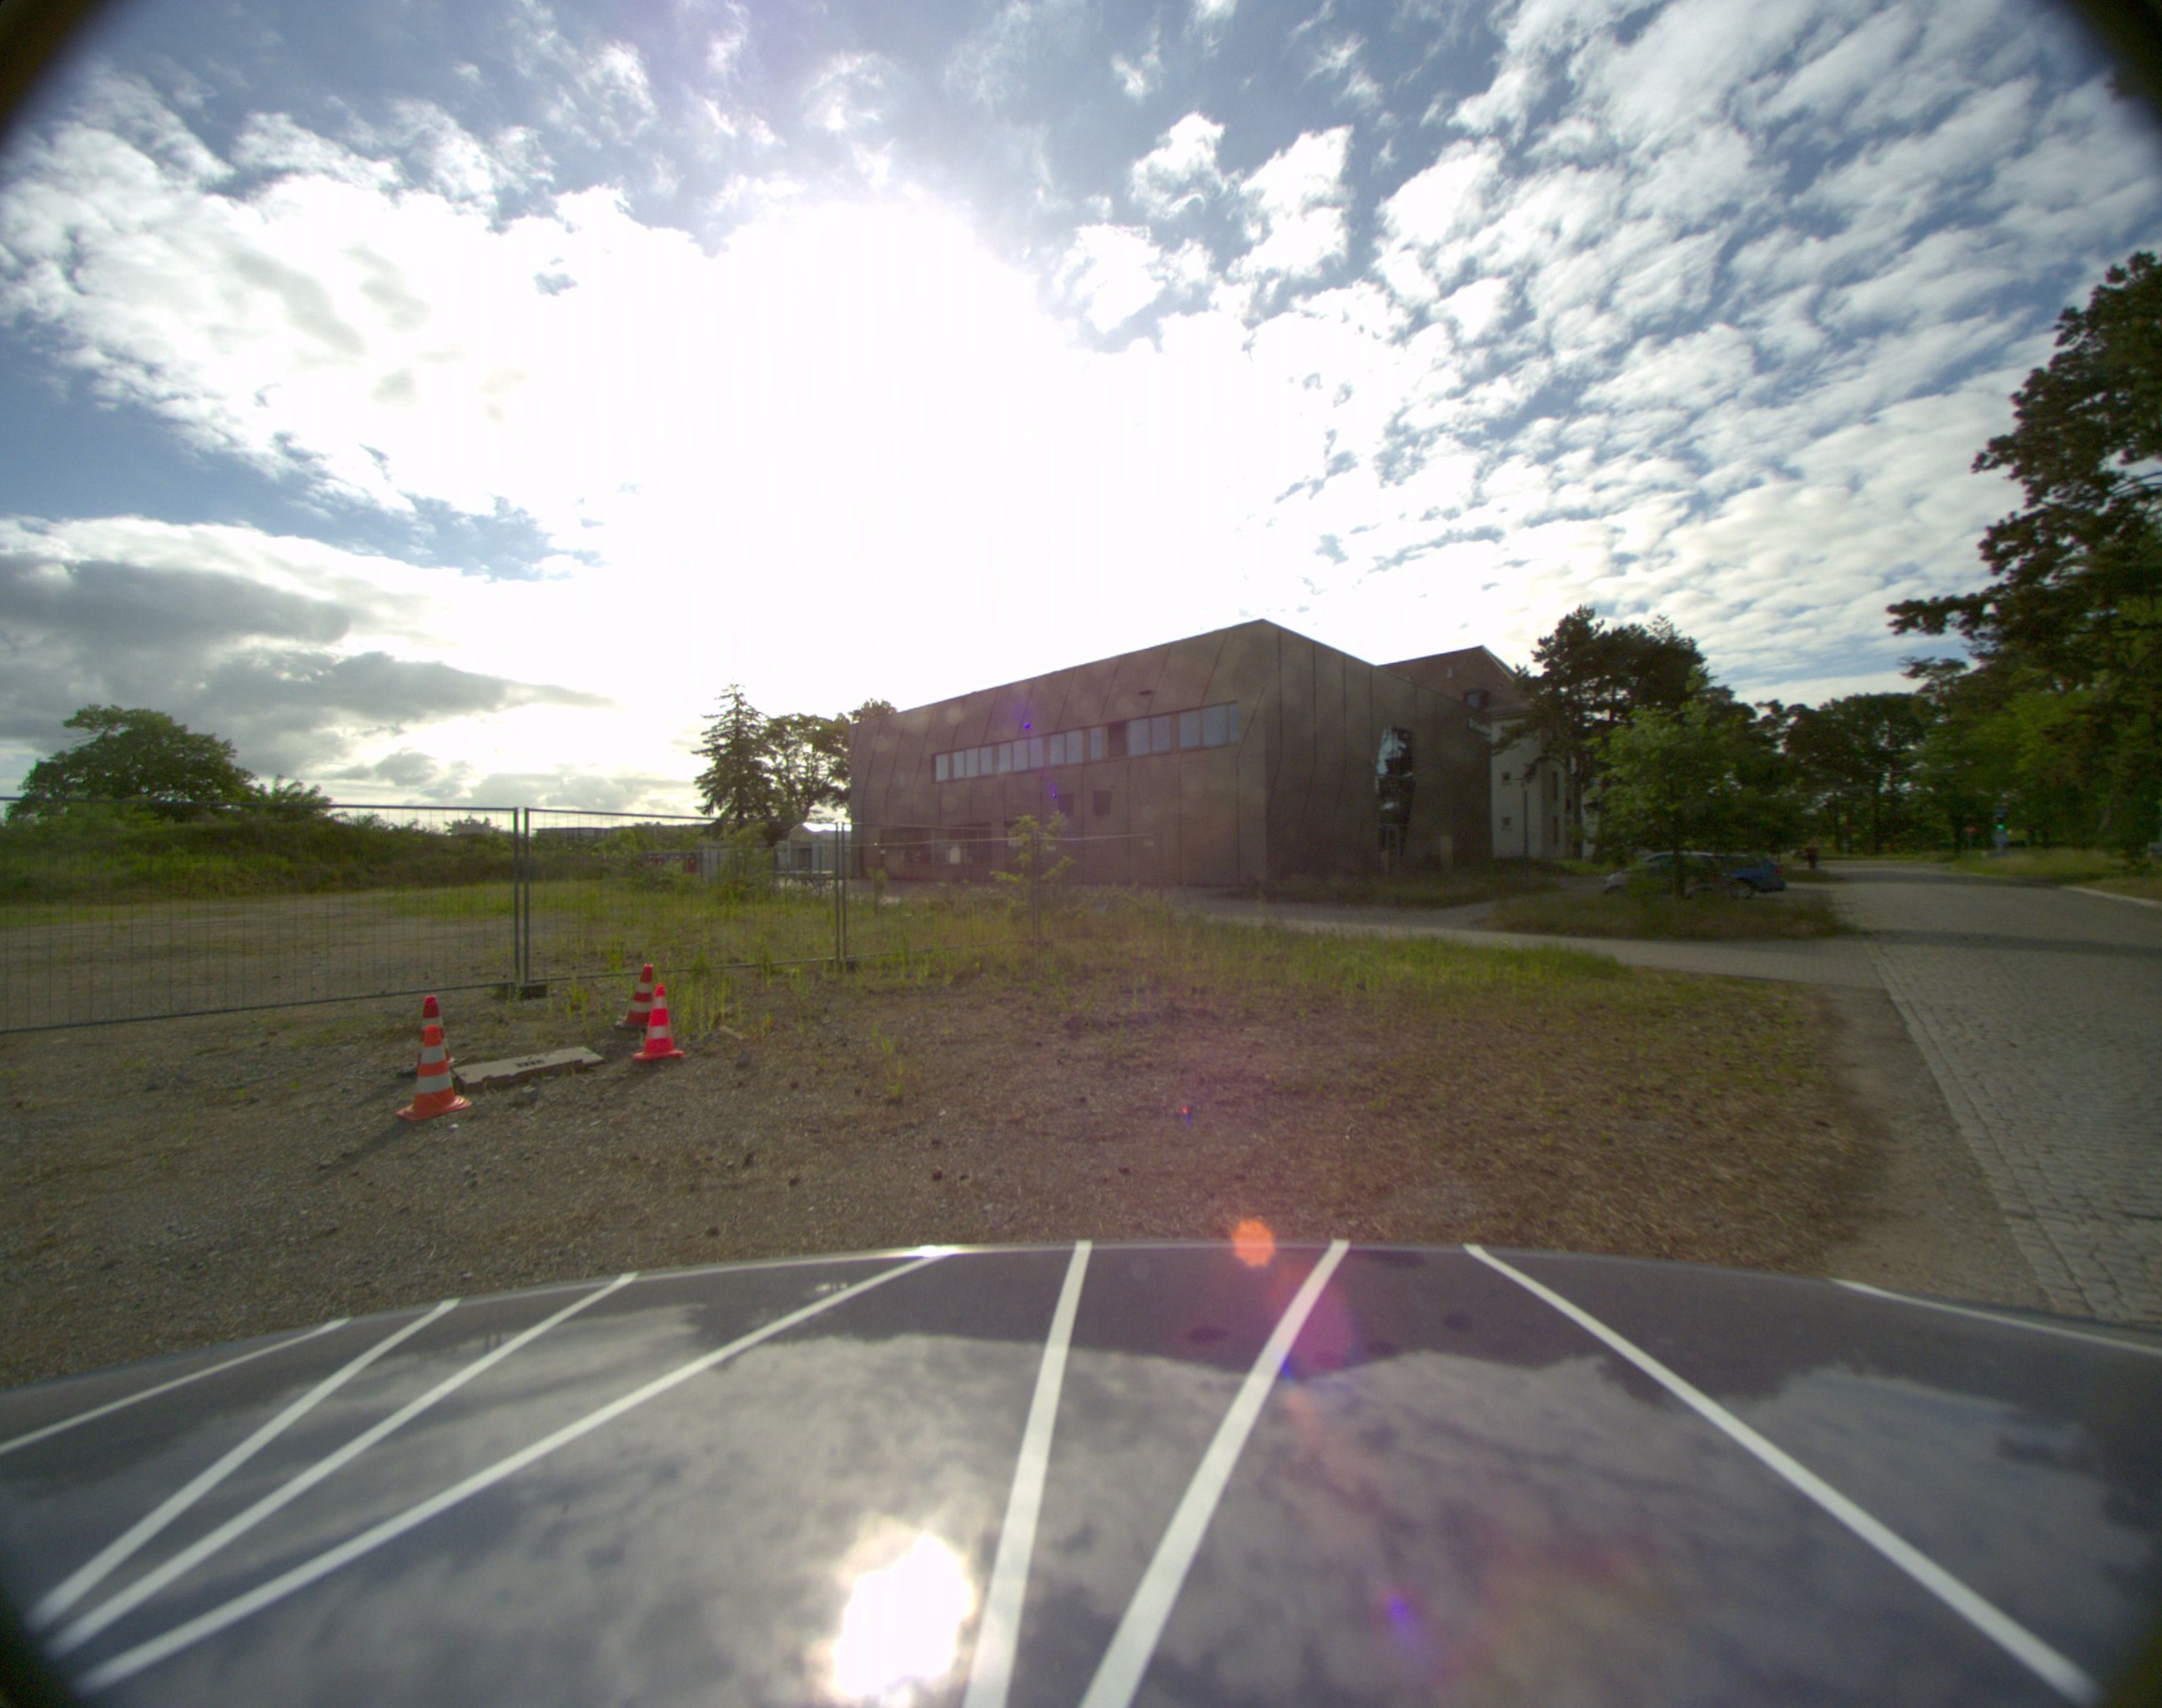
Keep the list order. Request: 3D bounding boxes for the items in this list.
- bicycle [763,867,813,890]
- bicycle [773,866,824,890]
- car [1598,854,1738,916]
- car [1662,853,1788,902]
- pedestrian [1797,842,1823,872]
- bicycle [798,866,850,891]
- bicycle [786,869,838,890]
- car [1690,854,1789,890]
[{"bbox_3d":[-14.319,1.163,37.179,0.943,1.038,2.074,0,1,42],"label":"bicycle"},{"bbox_3d":[-13.502,1.134,36.418,0.943,1.038,2.074,0,1,42],"label":"bicycle"},{"bbox_3d":[15.753,0.782,20.460,1.428,1.540,2.761,-1,0,-42],"label":"car"},{"bbox_3d":[21.325,0.734,25.276,3.084,1.449,1.495,2,2,40],"label":"car"},{"bbox_3d":[45.940,0.182,47.881,0.956,1.833,0.957,-1,1,30],"label":"pedestrian"},{"bbox_3d":[-11.806,1.102,34.930,0.943,1.080,2.074,0,1,42],"label":"bicycle"},{"bbox_3d":[-12.666,1.190,35.837,0.943,0.916,2.074,0,0,42],"label":"bicycle"},{"bbox_3d":[27.697,0.749,32.087,3.085,1.441,1.495,-1,0,38],"label":"car"}]
